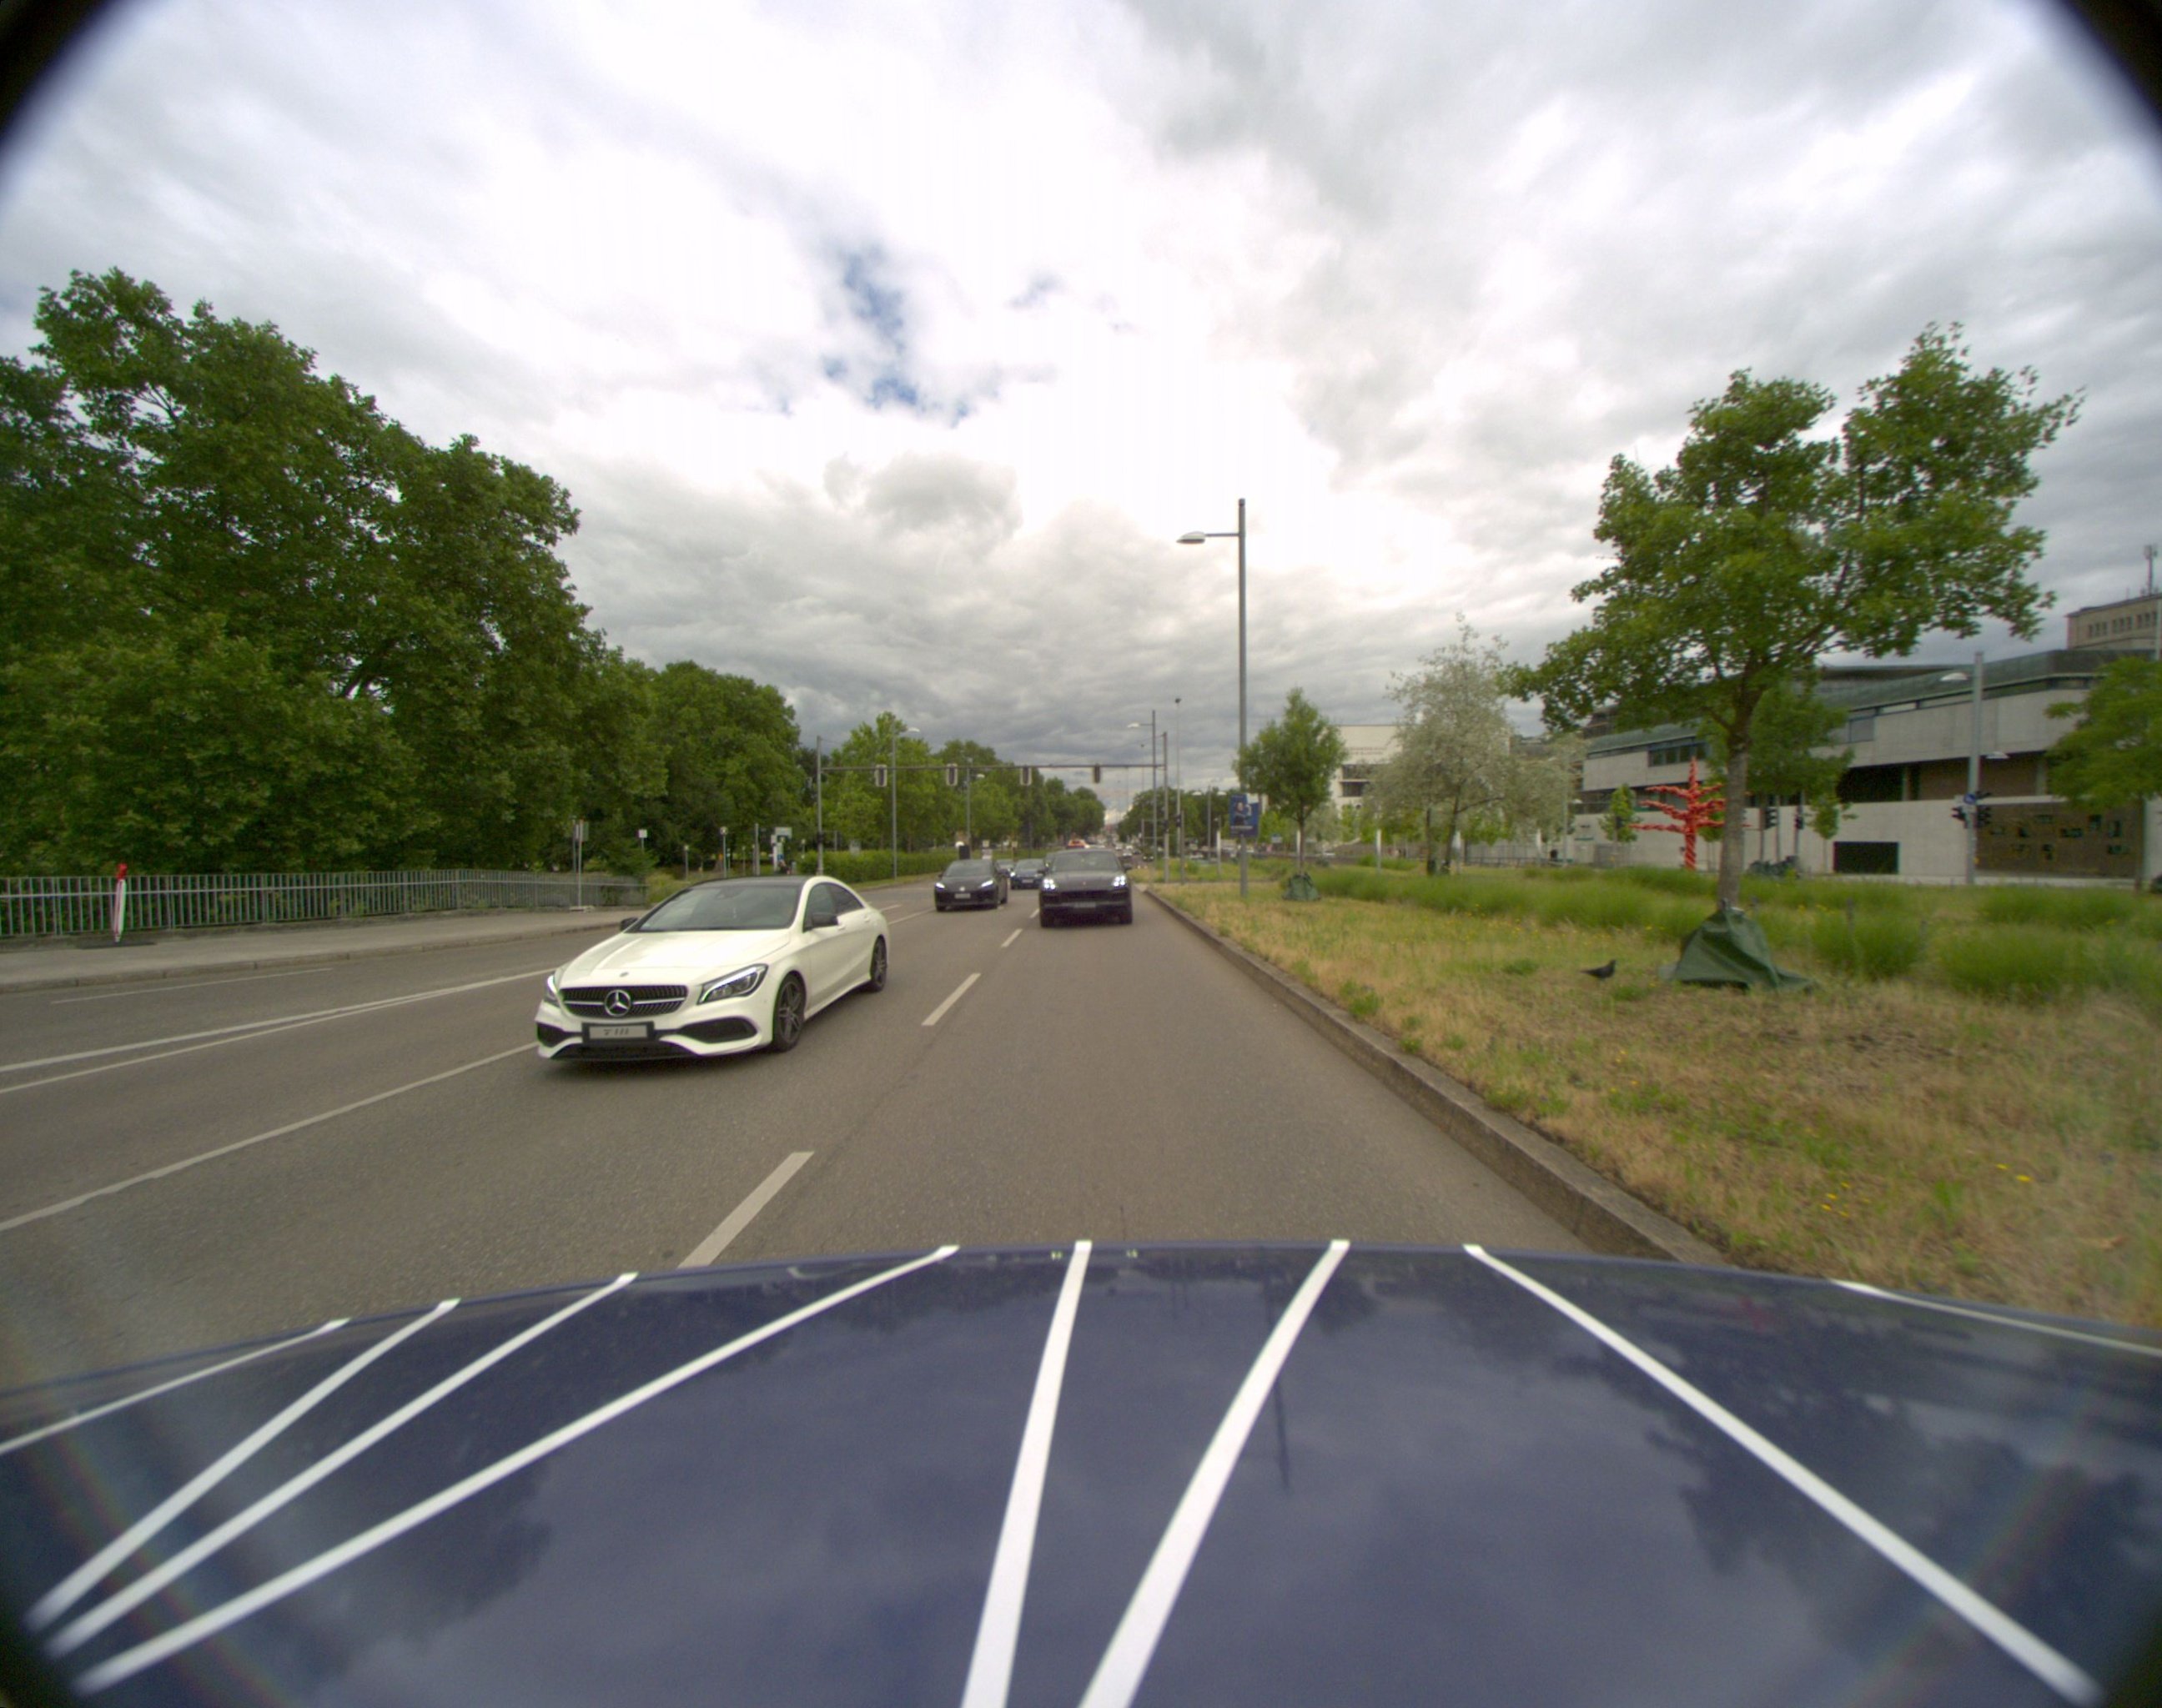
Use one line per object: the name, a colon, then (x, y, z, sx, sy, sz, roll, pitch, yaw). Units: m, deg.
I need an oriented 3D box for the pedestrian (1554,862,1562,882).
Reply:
pedestrian: (36.860, 1.372, 58.704, 0.318, 1.513, 0.316, -2, 1, -5)

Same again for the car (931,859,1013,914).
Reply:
car: (-3.304, 0.942, 23.760, 1.829, 1.515, 4.120, -2, 0, 1)

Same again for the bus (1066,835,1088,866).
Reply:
bus: (-0.510, -0.535, 111.957, 3.043, 4.327, 8.748, -2, 1, 0)

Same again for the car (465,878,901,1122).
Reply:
car: (-3.214, 1.059, 7.370, 1.723, 1.415, 4.506, -2, 1, 1)

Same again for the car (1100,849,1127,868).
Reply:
car: (2.746, 0.366, 64.770, 1.762, 1.538, 3.998, -2, 1, -4)

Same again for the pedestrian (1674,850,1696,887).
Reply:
pedestrian: (29.088, 0.692, 36.594, 0.541, 1.723, 0.663, -2, 1, 1)

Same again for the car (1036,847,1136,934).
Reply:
car: (0.159, 0.746, 17.740, 1.937, 1.668, 4.680, -3, 0, 1)

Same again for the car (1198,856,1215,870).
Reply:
car: (19.490, 1.364, 118.472, 1.998, 2.002, 4.000, 2, 0, 1)

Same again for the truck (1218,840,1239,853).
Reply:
truck: (32.668, -1.567, 168.775, 3.239, 2.771, 7.254, -1, 0, 1)

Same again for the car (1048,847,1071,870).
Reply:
car: (-1.805, 0.325, 64.597, 1.723, 1.851, 4.430, -2, 1, 1)

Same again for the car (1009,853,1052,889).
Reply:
car: (-2.423, 0.866, 37.180, 1.573, 1.527, 4.003, -5, -2, 2)

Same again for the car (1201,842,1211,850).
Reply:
car: (28.254, -1.795, 171.233, 1.723, 1.565, 4.271, -1, 0, 2)

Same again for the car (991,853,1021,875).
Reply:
car: (-5.640, 0.699, 57.626, 1.723, 1.528, 4.001, -2, 1, 1)

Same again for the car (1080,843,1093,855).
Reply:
car: (1.012, -0.940, 140.278, 1.998, 2.216, 4.000, -2, 1, 3)

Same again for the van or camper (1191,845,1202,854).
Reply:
van or camper: (28.728, -1.111, 188.770, 1.998, 2.002, 4.557, -1, 0, 1)

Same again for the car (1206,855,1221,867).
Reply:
car: (23.156, 1.236, 132.795, 1.998, 2.002, 4.000, 2, 0, 1)

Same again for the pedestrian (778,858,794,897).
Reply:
pedestrian: (-13.535, 1.084, 34.865, 0.479, 1.754, 0.620, -2, 1, -2)

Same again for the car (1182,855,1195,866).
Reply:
car: (20.355, 1.200, 143.891, 1.998, 2.002, 4.333, 2, 0, 1)

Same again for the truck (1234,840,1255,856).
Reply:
truck: (29.778, -1.101, 138.601, 2.469, 2.800, 7.080, -1, 0, 3)

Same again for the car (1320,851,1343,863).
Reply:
car: (33.923, 0.453, 102.877, 1.723, 1.565, 4.613, -1, 0, 3)

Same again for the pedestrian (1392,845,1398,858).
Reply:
pedestrian: (37.479, -0.297, 90.656, 0.428, 1.513, 0.461, -2, 1, -5)
